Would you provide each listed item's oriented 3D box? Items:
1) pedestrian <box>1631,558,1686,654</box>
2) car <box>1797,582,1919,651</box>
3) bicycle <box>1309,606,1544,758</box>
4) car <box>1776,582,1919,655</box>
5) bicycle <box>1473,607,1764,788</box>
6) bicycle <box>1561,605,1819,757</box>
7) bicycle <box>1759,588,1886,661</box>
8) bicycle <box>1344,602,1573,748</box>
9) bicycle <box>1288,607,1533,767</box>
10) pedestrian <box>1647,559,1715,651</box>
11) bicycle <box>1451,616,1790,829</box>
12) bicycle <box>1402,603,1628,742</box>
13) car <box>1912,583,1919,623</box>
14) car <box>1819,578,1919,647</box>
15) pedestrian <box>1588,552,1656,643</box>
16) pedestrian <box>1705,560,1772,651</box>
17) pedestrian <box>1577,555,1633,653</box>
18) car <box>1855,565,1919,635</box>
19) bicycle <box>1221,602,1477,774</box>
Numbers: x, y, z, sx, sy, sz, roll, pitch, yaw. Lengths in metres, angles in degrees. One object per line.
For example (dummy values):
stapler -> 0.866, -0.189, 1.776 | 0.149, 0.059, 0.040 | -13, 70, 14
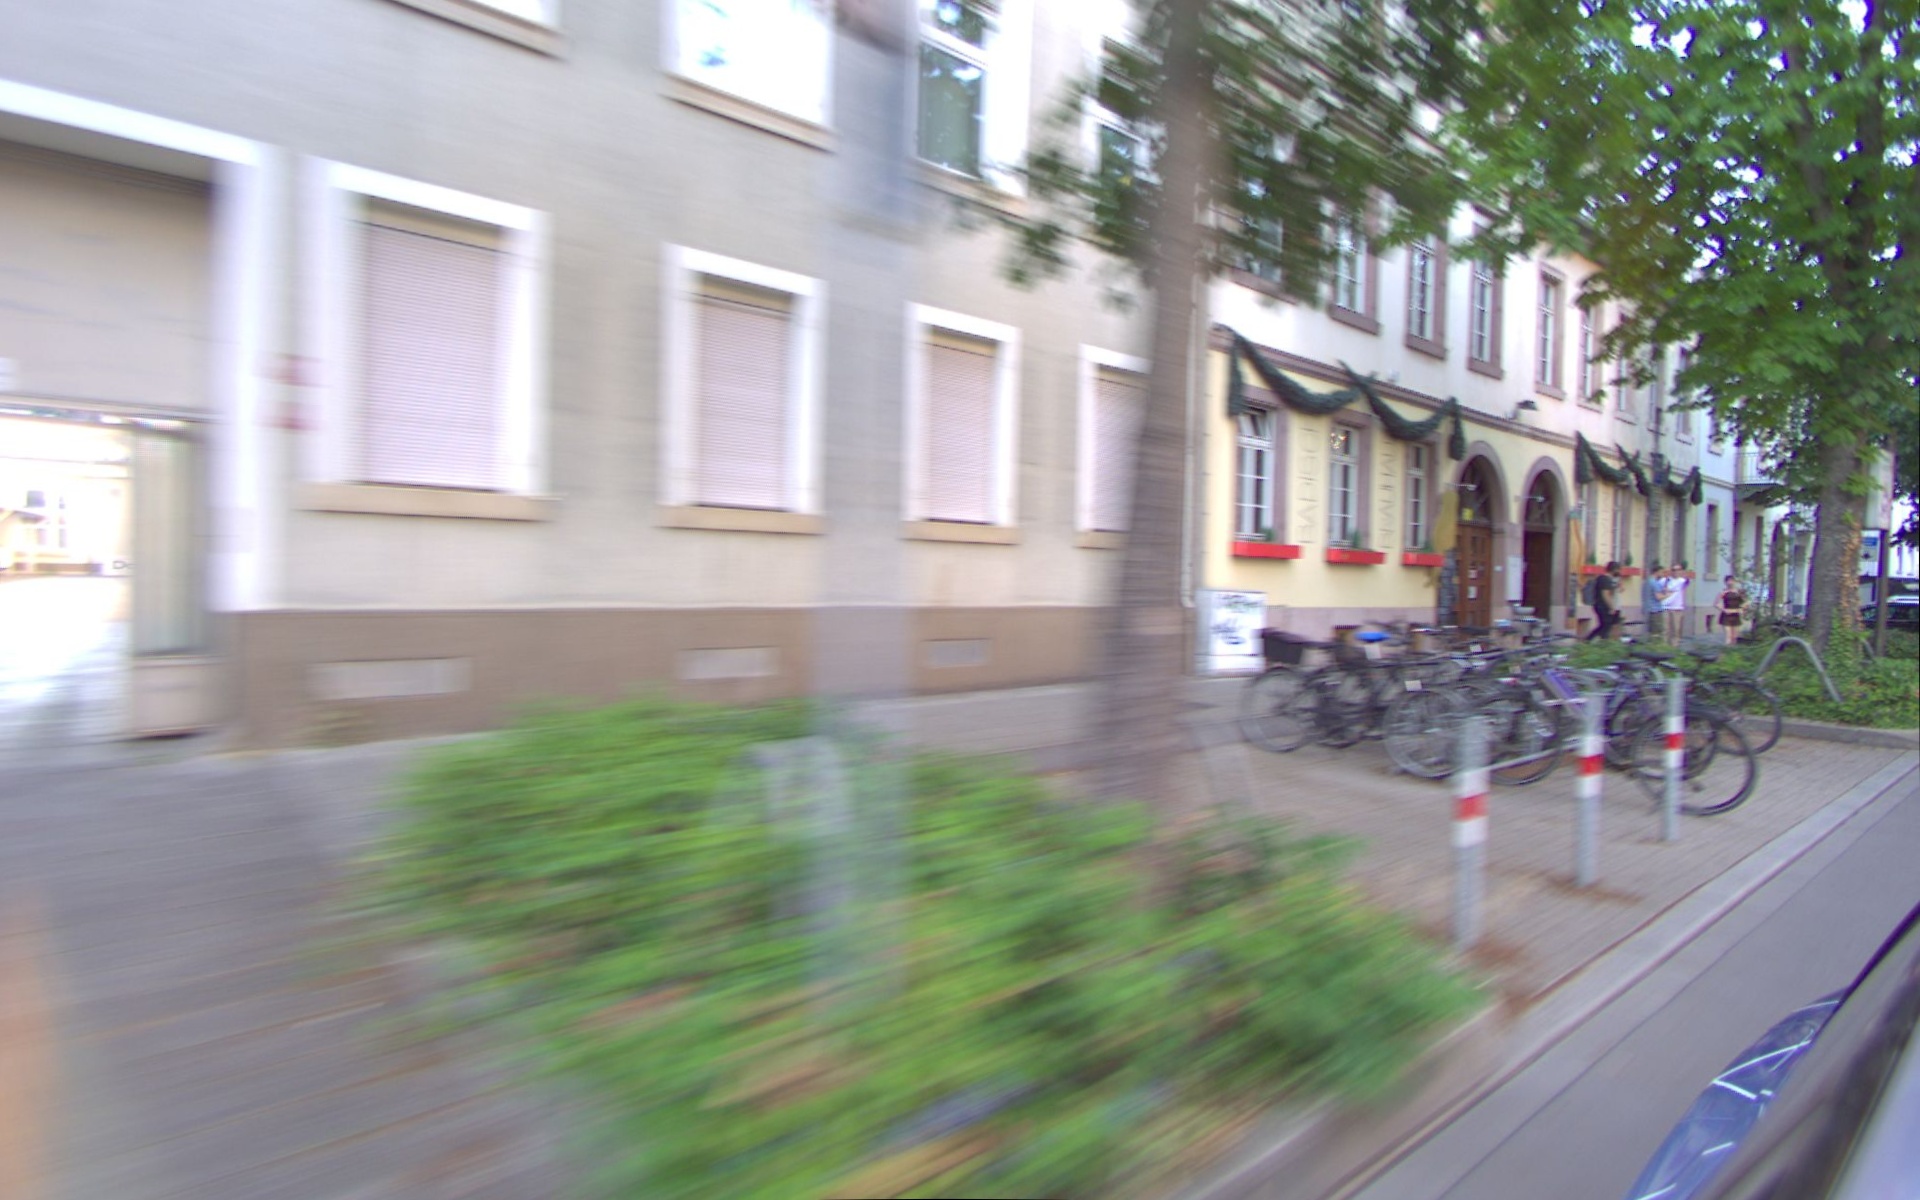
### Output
pedestrian -> 13.219, 0.111, 19.146 | 0.612, 1.760, 0.616 | 2, 2, -40
car -> 23.237, 0.437, 24.717 | 1.893, 1.454, 3.997 | 0, 5, -41
bicycle -> 4.068, 0.665, 8.950 | 0.492, 1.121, 1.796 | 0, 3, -45
car -> 21.529, 0.463, 22.950 | 1.853, 1.410, 4.411 | 0, 5, -41
bicycle -> 5.213, 0.703, 8.128 | 0.590, 1.193, 1.834 | 0, 3, -40
bicycle -> 6.834, 0.700, 9.565 | 0.661, 1.193, 1.834 | 0, 3, -40
bicycle -> 17.002, 0.456, 19.995 | 1.794, 1.247, 0.663 | 6, 4, 41
bicycle -> 4.661, 0.644, 9.547 | 1.794, 1.157, 0.641 | 4, 3, 42
bicycle -> 3.745, 0.672, 8.539 | 0.492, 1.121, 1.796 | 0, 3, -45
pedestrian -> 14.406, 0.092, 20.242 | 0.732, 1.760, 0.716 | 2, 2, -20
bicycle -> 4.485, 0.752, 6.956 | 1.836, 1.149, 0.734 | 4, 3, 41
bicycle -> 5.392, 0.656, 9.920 | 0.653, 1.142, 1.795 | 0, 3, -45
car -> 40.381, 0.314, 39.366 | 1.910, 1.597, 4.602 | 0, 5, -40
car -> 25.130, 0.379, 26.481 | 1.683, 1.597, 3.692 | 0, 5, -39
pedestrian -> 13.319, -0.067, 20.375 | 0.729, 1.760, 0.729 | 3, 2, -13
pedestrian -> 15.506, 0.099, 20.169 | 0.711, 1.760, 0.710 | 2, 2, -24
pedestrian -> 12.093, 0.066, 18.979 | 0.774, 1.760, 0.676 | 4, 2, 34
car -> 30.823, 0.127, 31.032 | 2.001, 2.035, 4.702 | 0, 5, -40
bicycle -> 3.122, 0.646, 8.238 | 1.793, 1.157, 0.659 | 4, 3, 42
